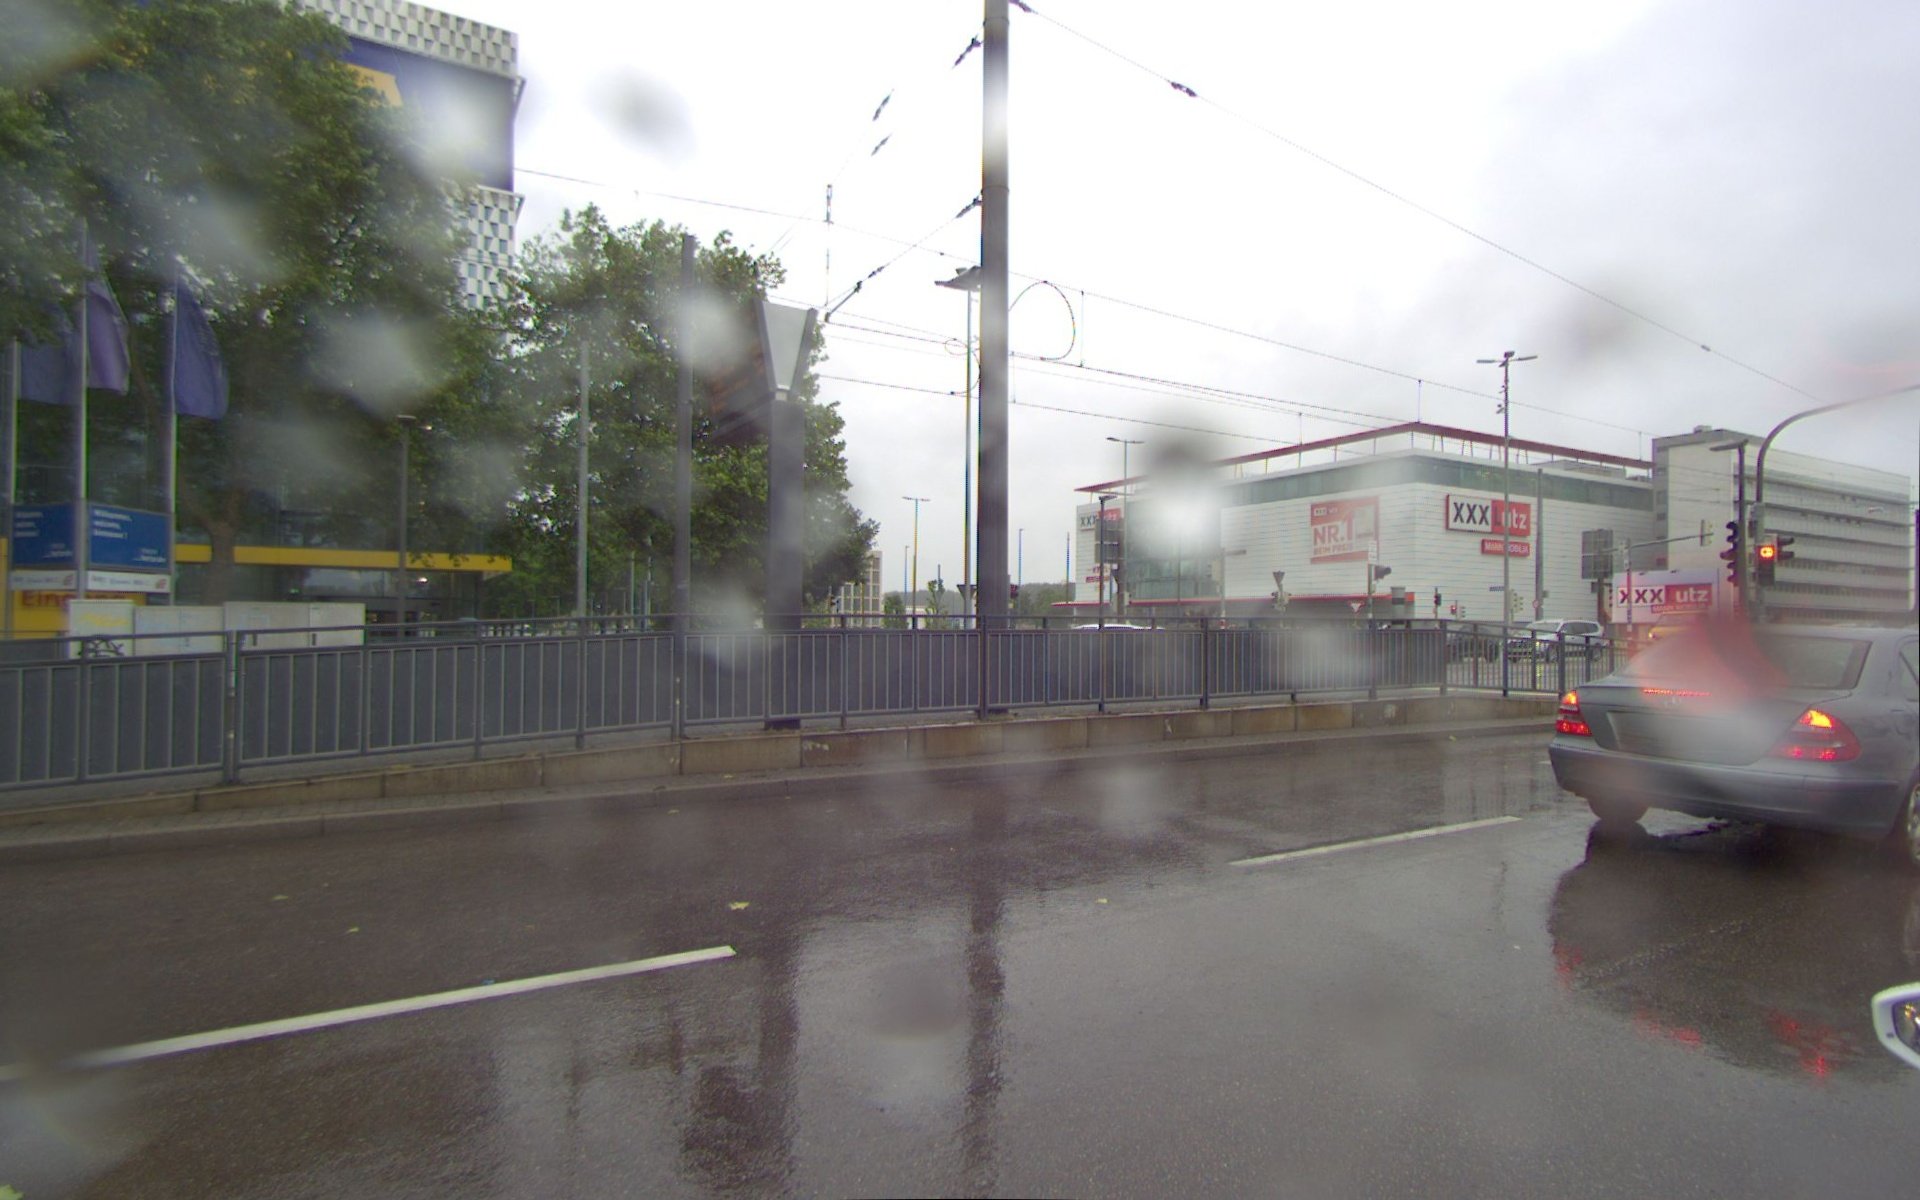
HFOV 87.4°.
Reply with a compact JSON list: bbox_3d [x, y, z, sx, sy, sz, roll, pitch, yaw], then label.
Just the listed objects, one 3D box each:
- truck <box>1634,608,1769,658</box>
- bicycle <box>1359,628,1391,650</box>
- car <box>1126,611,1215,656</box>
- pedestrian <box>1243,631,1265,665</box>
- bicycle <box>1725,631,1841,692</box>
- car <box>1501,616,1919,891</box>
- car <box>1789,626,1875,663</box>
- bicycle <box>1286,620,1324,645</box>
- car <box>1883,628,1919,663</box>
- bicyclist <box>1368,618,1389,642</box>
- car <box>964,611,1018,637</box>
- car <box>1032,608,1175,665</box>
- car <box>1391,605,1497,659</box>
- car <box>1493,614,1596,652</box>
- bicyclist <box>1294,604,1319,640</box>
[{"bbox_3d":[37.009,1.647,50.063,7.536,2.309,2.342,2,0,-28],"label":"truck"},{"bbox_3d":[19.753,1.869,47.766,1.688,1.000,0.448,2,0,-30],"label":"bicycle"},{"bbox_3d":[10.409,1.647,49.912,1.976,2.040,4.295,2,0,-29],"label":"car"},{"bbox_3d":[14.032,2.284,47.911,0.863,1.557,0.560,2,0,-31],"label":"pedestrian"},{"bbox_3d":[16.761,1.225,20.500,0.409,1.048,1.742,2,3,-31],"label":"bicycle"},{"bbox_3d":[6.119,0.908,7.264,4.591,1.417,1.754,2,0,-30],"label":"car"},{"bbox_3d":[43.755,2.249,50.400,3.947,1.722,1.886,2,0,-26],"label":"car"},{"bbox_3d":[14.273,1.354,41.505,1.688,1.000,0.448,2,0,-30],"label":"bicycle"},{"bbox_3d":[53.164,2.523,55.467,3.947,1.851,1.923,2,0,-26],"label":"car"},{"bbox_3d":[19.940,1.428,47.849,0.639,1.149,0.681,2,0,-29],"label":"bicyclist"},{"bbox_3d":[2.188,1.660,70.206,3.723,1.645,2.001,2,0,2],"label":"car"},{"bbox_3d":[4.144,1.048,28.951,3.830,1.512,1.690,2,0,-30],"label":"car"},{"bbox_3d":[19.993,1.378,41.524,3.950,1.928,1.987,5,-6,-27],"label":"car"},{"bbox_3d":[22.739,1.293,39.058,3.780,1.354,1.582,2,0,-26],"label":"car"},{"bbox_3d":[14.304,0.903,41.504,0.639,1.483,0.681,2,0,-29],"label":"bicyclist"}]
